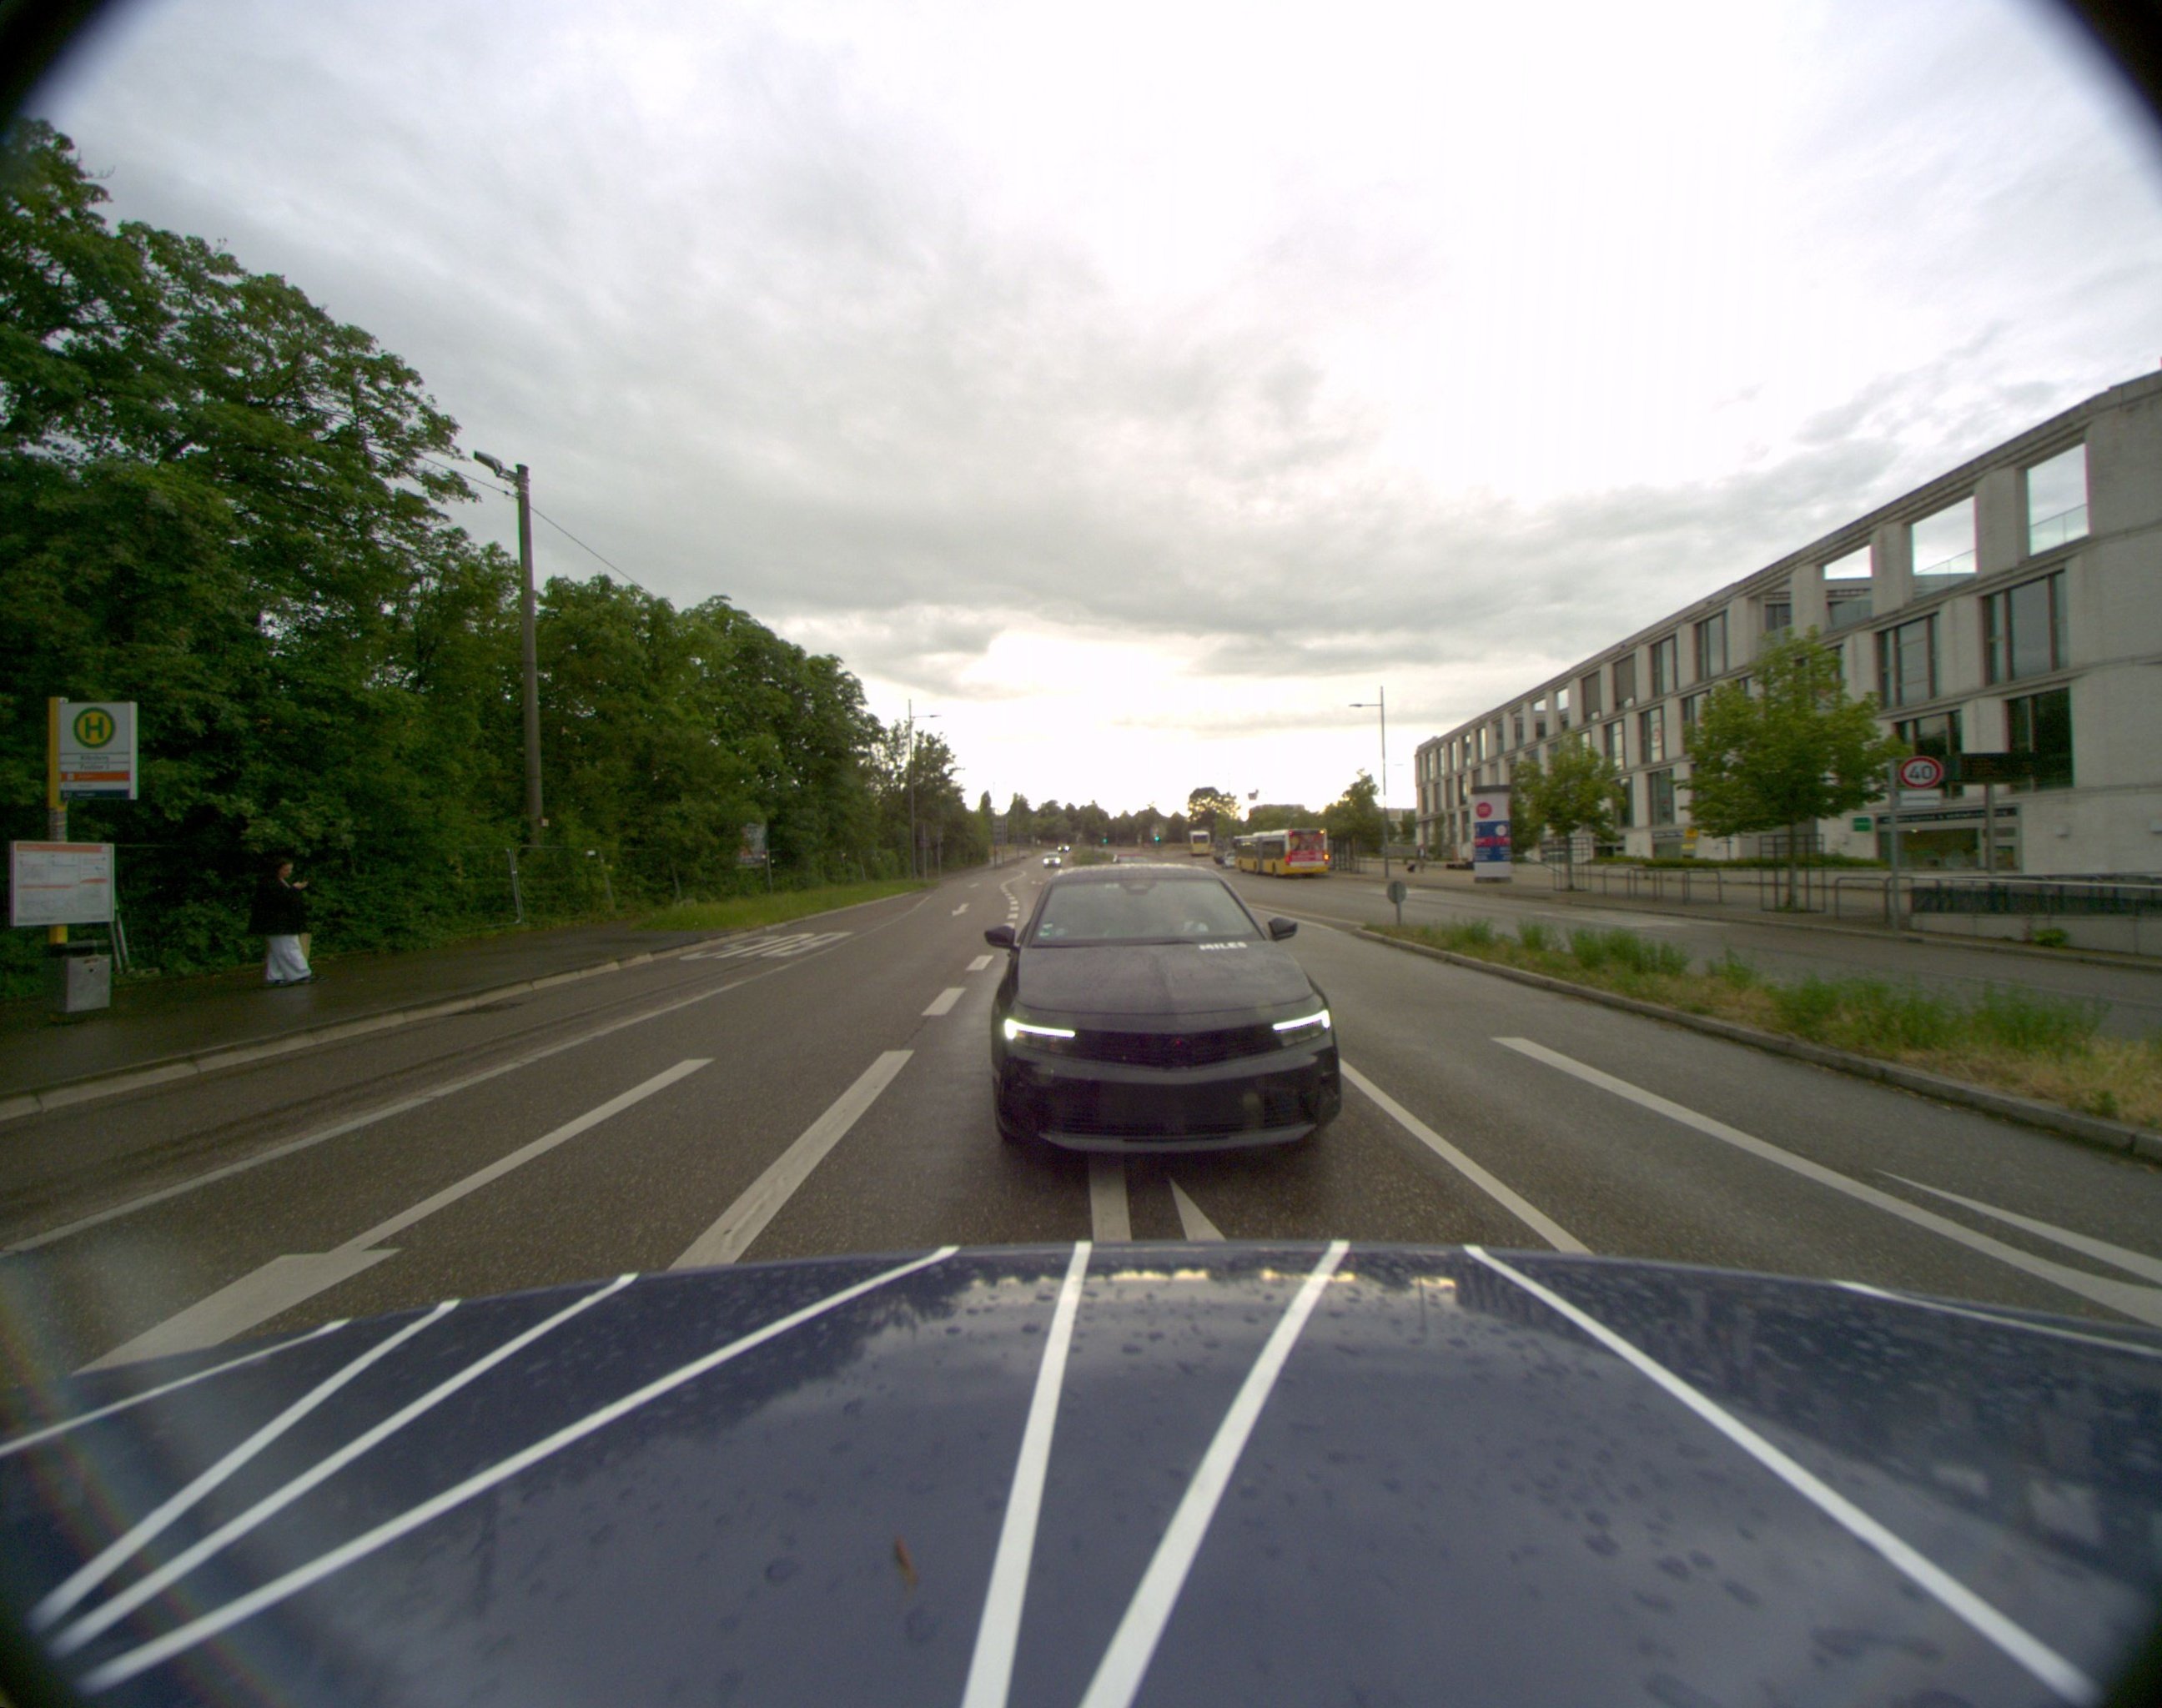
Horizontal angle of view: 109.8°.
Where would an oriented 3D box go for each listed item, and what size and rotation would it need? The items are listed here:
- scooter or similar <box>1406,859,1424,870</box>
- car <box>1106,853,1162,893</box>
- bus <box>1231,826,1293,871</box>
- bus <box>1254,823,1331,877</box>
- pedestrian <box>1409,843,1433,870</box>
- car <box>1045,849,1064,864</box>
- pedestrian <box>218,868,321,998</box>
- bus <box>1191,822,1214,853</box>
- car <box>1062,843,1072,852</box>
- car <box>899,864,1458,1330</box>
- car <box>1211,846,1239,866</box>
[{"bbox_3d":[20.044,0.626,45.613,0.642,0.648,0.831,-1,1,-19],"label":"scooter or similar"},{"bbox_3d":[2.032,0.699,30.071,1.632,1.473,3.504,-1,1,-5],"label":"car"},{"bbox_3d":[14.116,-0.449,60.035,2.693,3.163,9.912,-2,1,2],"label":"bus"},{"bbox_3d":[13.825,-0.310,50.530,2.759,3.194,9.207,-2,1,2],"label":"bus"},{"bbox_3d":[20.371,0.127,45.503,0.867,1.572,0.982,-3,1,-17],"label":"pedestrian"},{"bbox_3d":[-2.833,0.247,81.229,1.901,1.524,4.767,-2,1,-1],"label":"car"},{"bbox_3d":[-10.604,1.011,9.947,0.588,1.618,0.661,-1,1,1],"label":"pedestrian"},{"bbox_3d":[18.427,-2.421,114.158,2.757,4.129,19.359,-2,1,11],"label":"bus"},{"bbox_3d":[-2.915,-1.296,154.487,1.934,1.649,4.617,-1,0,-2],"label":"car"},{"bbox_3d":[0.376,0.889,5.038,1.901,1.456,4.767,-2,1,1],"label":"car"},{"bbox_3d":[13.585,0.162,71.628,1.867,1.777,3.999,-2,1,1],"label":"car"}]
